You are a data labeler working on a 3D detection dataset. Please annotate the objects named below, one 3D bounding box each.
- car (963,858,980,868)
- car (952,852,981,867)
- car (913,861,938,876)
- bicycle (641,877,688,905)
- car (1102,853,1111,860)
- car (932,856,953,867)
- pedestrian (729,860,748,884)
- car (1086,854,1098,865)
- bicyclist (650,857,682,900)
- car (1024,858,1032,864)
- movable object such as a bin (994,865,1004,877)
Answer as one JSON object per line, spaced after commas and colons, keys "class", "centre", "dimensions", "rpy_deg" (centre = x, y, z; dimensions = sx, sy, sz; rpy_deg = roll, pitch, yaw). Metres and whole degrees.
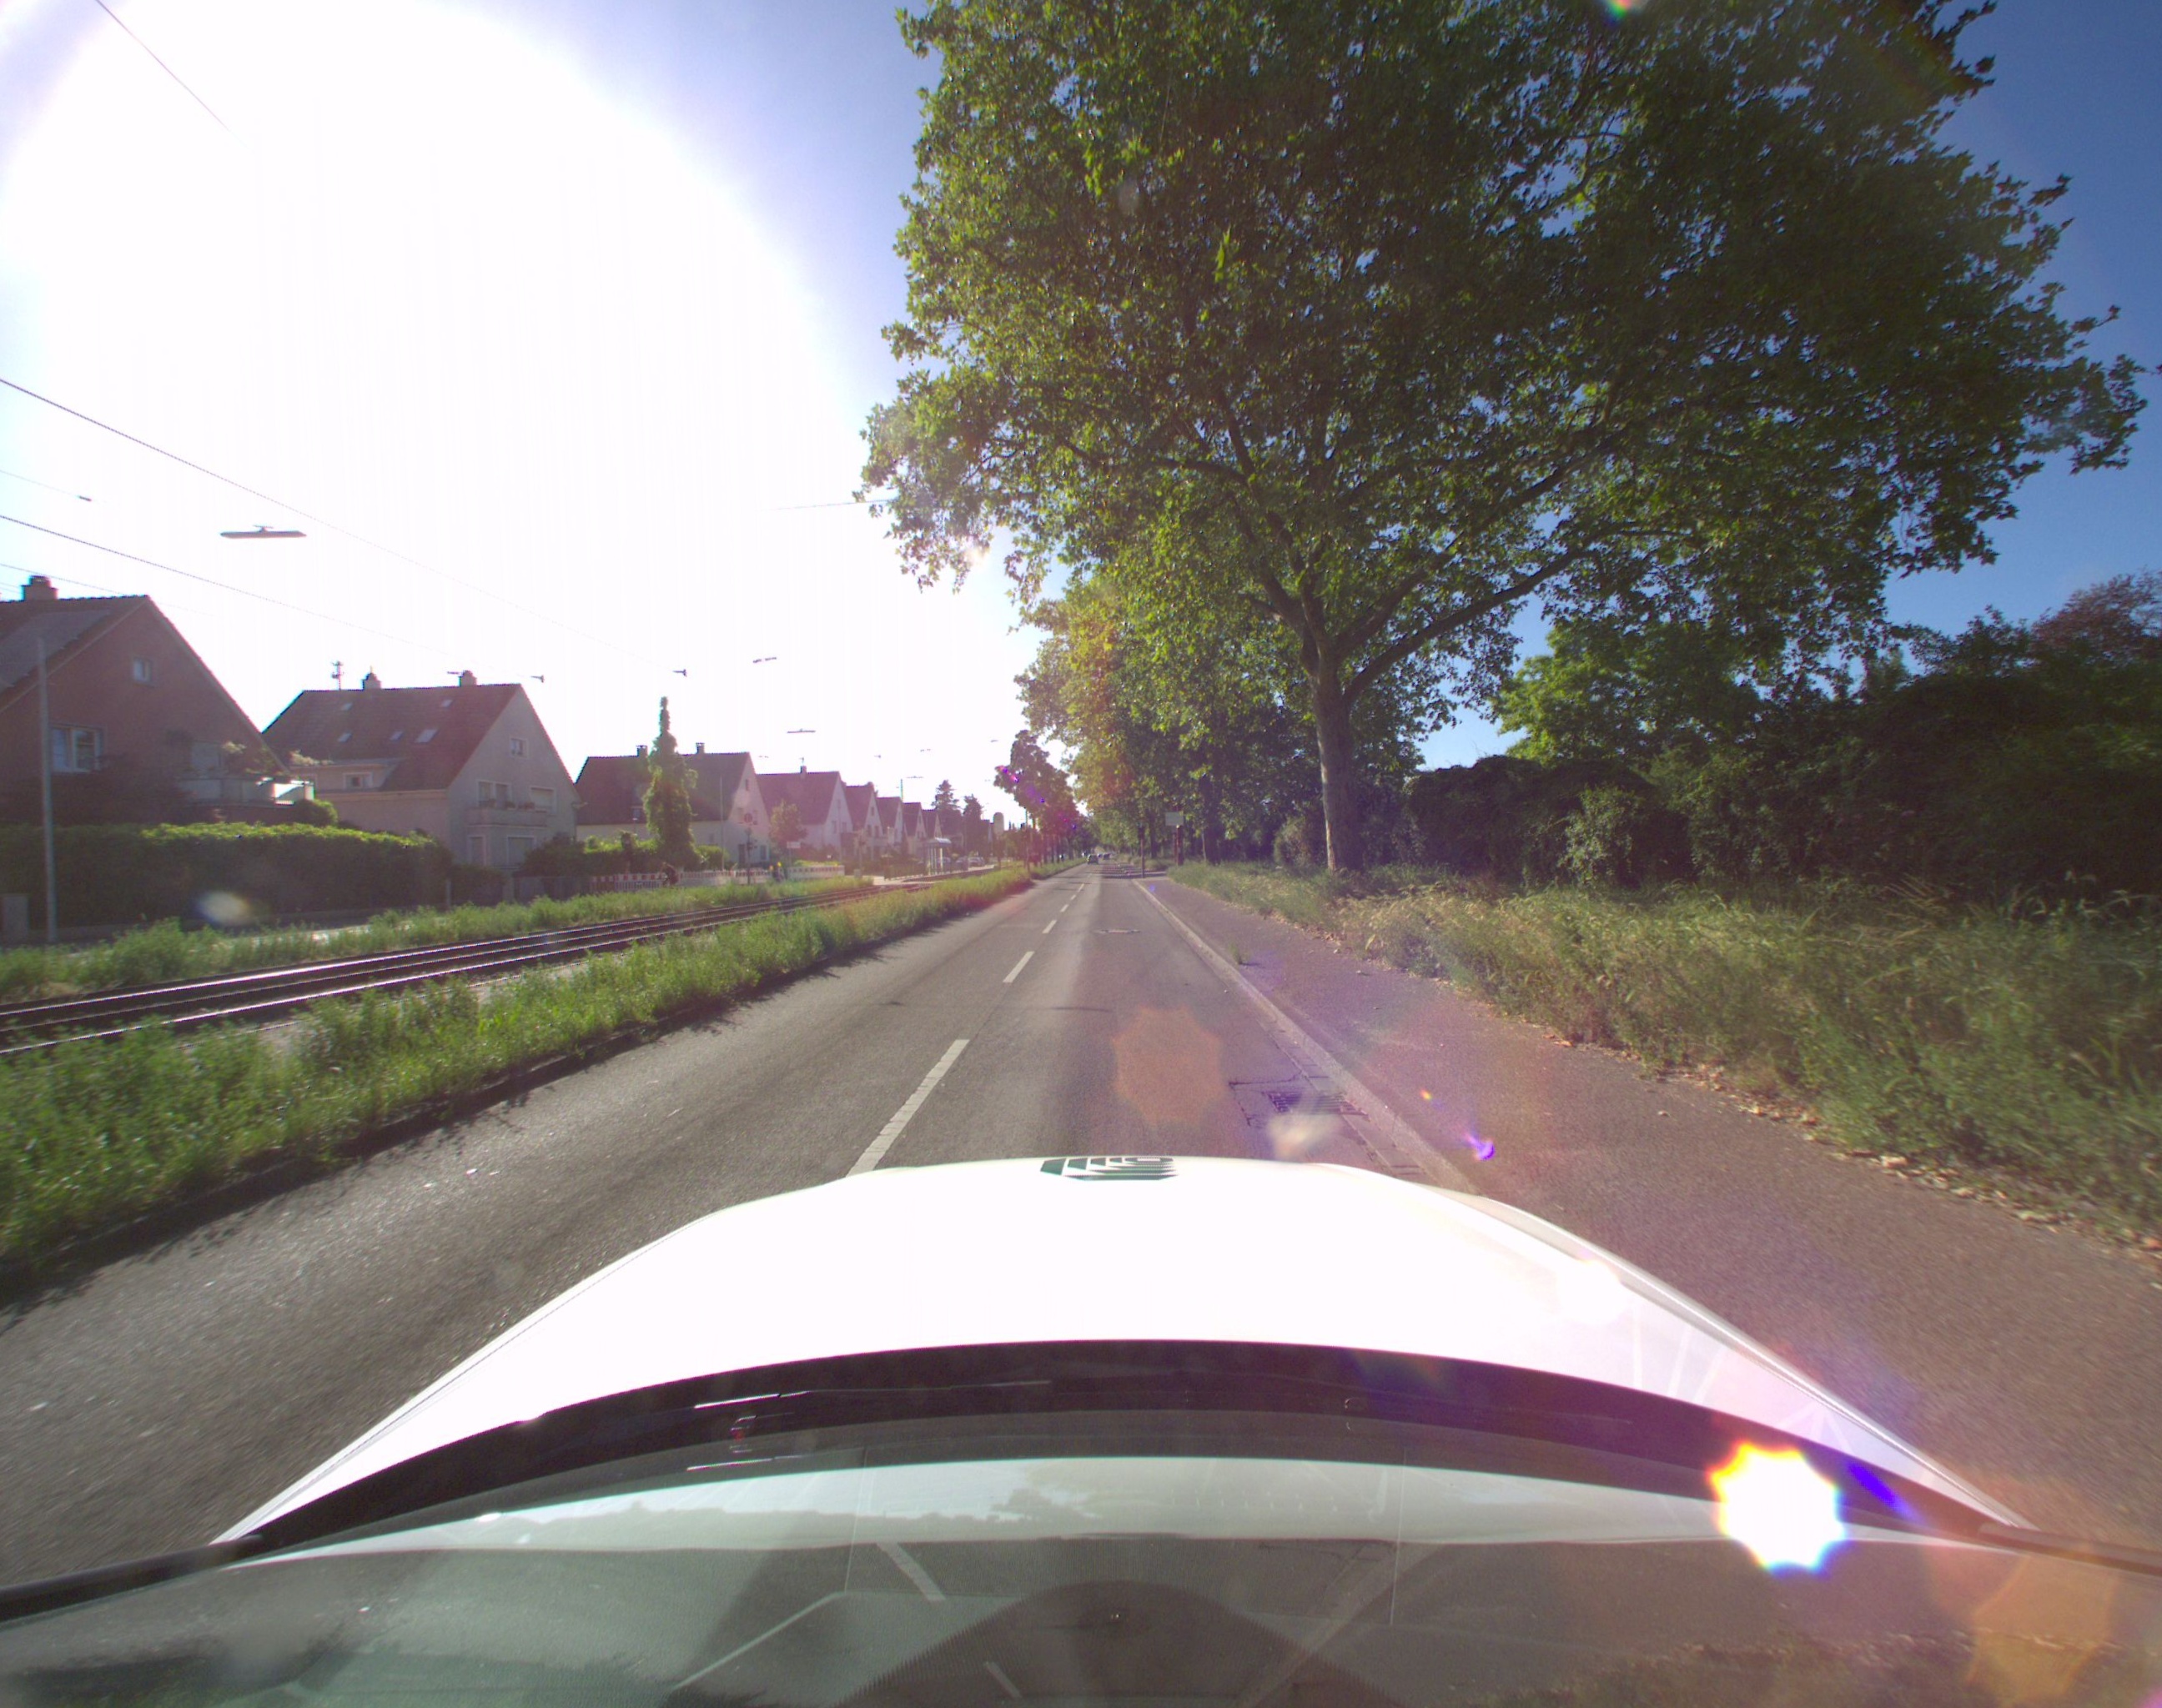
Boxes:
{"class": "car", "centre": [-17.397, 1.477, 130.049], "dimensions": [1.986, 1.450, 4.129], "rpy_deg": [2, 0, 2]}
{"class": "car", "centre": [-21.949, 1.029, 156.226], "dimensions": [5.010, 2.625, 2.103], "rpy_deg": [-1, 0, 1]}
{"class": "car", "centre": [-18.610, 1.705, 97.537], "dimensions": [1.986, 1.713, 4.392], "rpy_deg": [0, -1, 2]}
{"class": "bicycle", "centre": [-18.553, 1.632, 36.315], "dimensions": [0.848, 1.134, 2.310], "rpy_deg": [0, -1, 2]}
{"class": "car", "centre": [6.064, 0.685, 192.261], "dimensions": [1.986, 1.603, 4.474], "rpy_deg": [0, -1, 1]}
{"class": "car", "centre": [-18.201, 1.002, 107.183], "dimensions": [1.919, 1.495, 4.257], "rpy_deg": [0, -1, 2]}
{"class": "pedestrian", "centre": [-23.065, 1.186, 54.802], "dimensions": [0.786, 1.534, 0.816], "rpy_deg": [-1, 1, 10]}
{"class": "car", "centre": [1.659, 0.799, 121.784], "dimensions": [1.853, 1.601, 4.229], "rpy_deg": [0, -1, 1]}
{"class": "bicyclist", "centre": [-18.552, 1.078, 36.387], "dimensions": [0.848, 1.887, 1.072], "rpy_deg": [0, -1, 2]}
{"class": "car", "centre": [-14.292, 1.959, 218.734], "dimensions": [1.853, 1.542, 4.229], "rpy_deg": [0, -1, 1]}
{"class": "movable object such as a bin", "centre": [-4.086, 0.855, 40.527], "dimensions": [0.384, 0.582, 0.380], "rpy_deg": [0, -1, 10]}
